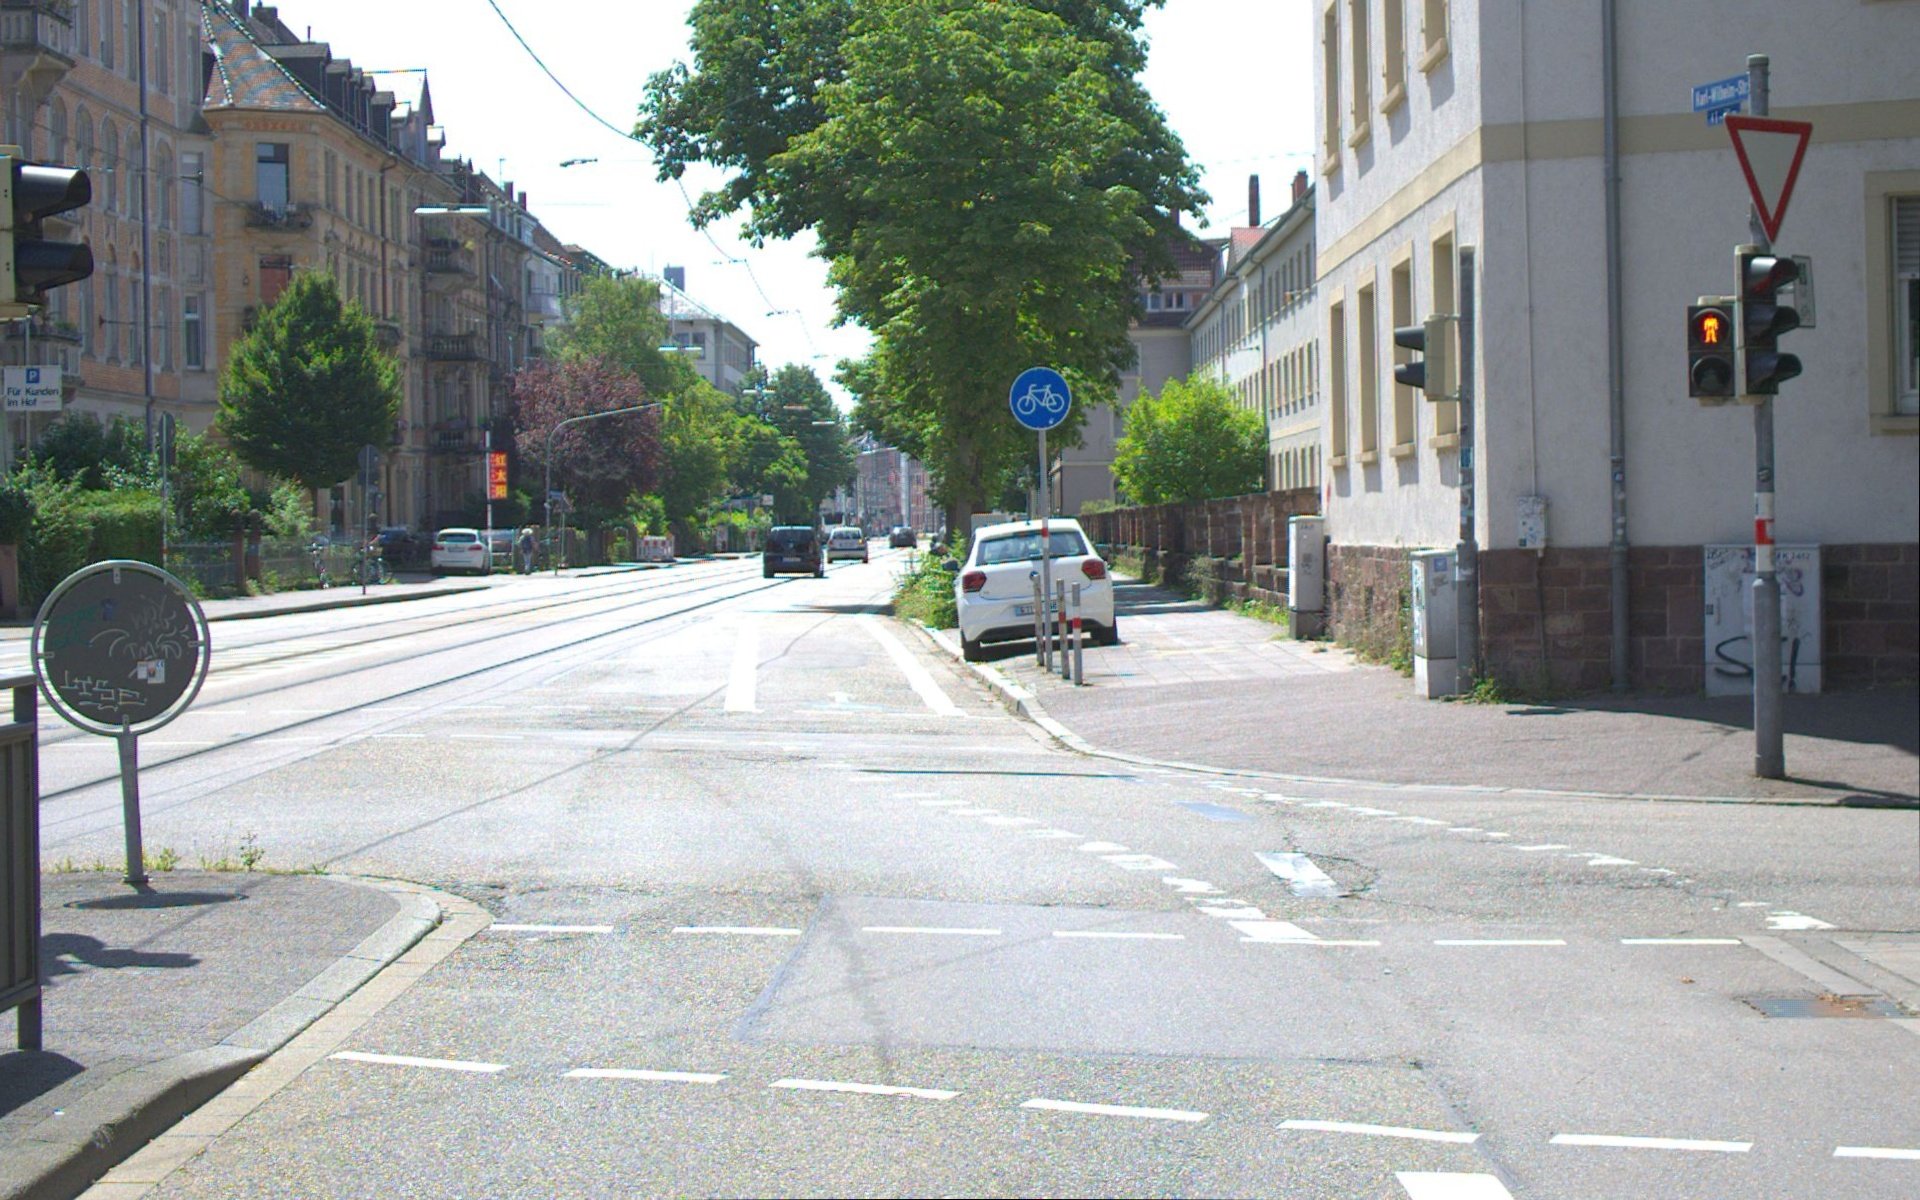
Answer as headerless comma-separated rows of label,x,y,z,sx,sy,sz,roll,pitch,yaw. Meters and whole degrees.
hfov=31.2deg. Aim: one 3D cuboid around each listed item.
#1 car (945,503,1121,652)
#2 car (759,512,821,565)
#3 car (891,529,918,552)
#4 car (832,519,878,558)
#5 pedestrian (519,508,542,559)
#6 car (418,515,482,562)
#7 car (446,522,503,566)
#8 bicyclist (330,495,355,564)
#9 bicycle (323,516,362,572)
car,0.768,-0.271,38.672,1.747,1.467,3.938,-4,1,-1
car,-4.843,-1.757,98.136,1.525,1.439,3.365,-2,1,0
car,-3.769,-4.018,232.723,1.628,1.467,3.564,-4,1,-2
car,-4.308,-2.517,141.391,1.747,1.467,3.938,-4,1,-1
pedestrian,-14.540,-2.249,116.386,0.678,1.721,0.677,0,1,-1
car,-17.360,-2.073,117.164,1.684,1.467,3.939,-4,1,-2
car,-17.716,-2.031,125.548,1.628,1.467,3.564,-4,1,-2
bicyclist,-15.662,-1.781,87.160,0.542,1.757,0.498,0,1,-1
bicycle,-15.654,-1.420,87.219,0.577,1.383,2.501,0,1,-1
